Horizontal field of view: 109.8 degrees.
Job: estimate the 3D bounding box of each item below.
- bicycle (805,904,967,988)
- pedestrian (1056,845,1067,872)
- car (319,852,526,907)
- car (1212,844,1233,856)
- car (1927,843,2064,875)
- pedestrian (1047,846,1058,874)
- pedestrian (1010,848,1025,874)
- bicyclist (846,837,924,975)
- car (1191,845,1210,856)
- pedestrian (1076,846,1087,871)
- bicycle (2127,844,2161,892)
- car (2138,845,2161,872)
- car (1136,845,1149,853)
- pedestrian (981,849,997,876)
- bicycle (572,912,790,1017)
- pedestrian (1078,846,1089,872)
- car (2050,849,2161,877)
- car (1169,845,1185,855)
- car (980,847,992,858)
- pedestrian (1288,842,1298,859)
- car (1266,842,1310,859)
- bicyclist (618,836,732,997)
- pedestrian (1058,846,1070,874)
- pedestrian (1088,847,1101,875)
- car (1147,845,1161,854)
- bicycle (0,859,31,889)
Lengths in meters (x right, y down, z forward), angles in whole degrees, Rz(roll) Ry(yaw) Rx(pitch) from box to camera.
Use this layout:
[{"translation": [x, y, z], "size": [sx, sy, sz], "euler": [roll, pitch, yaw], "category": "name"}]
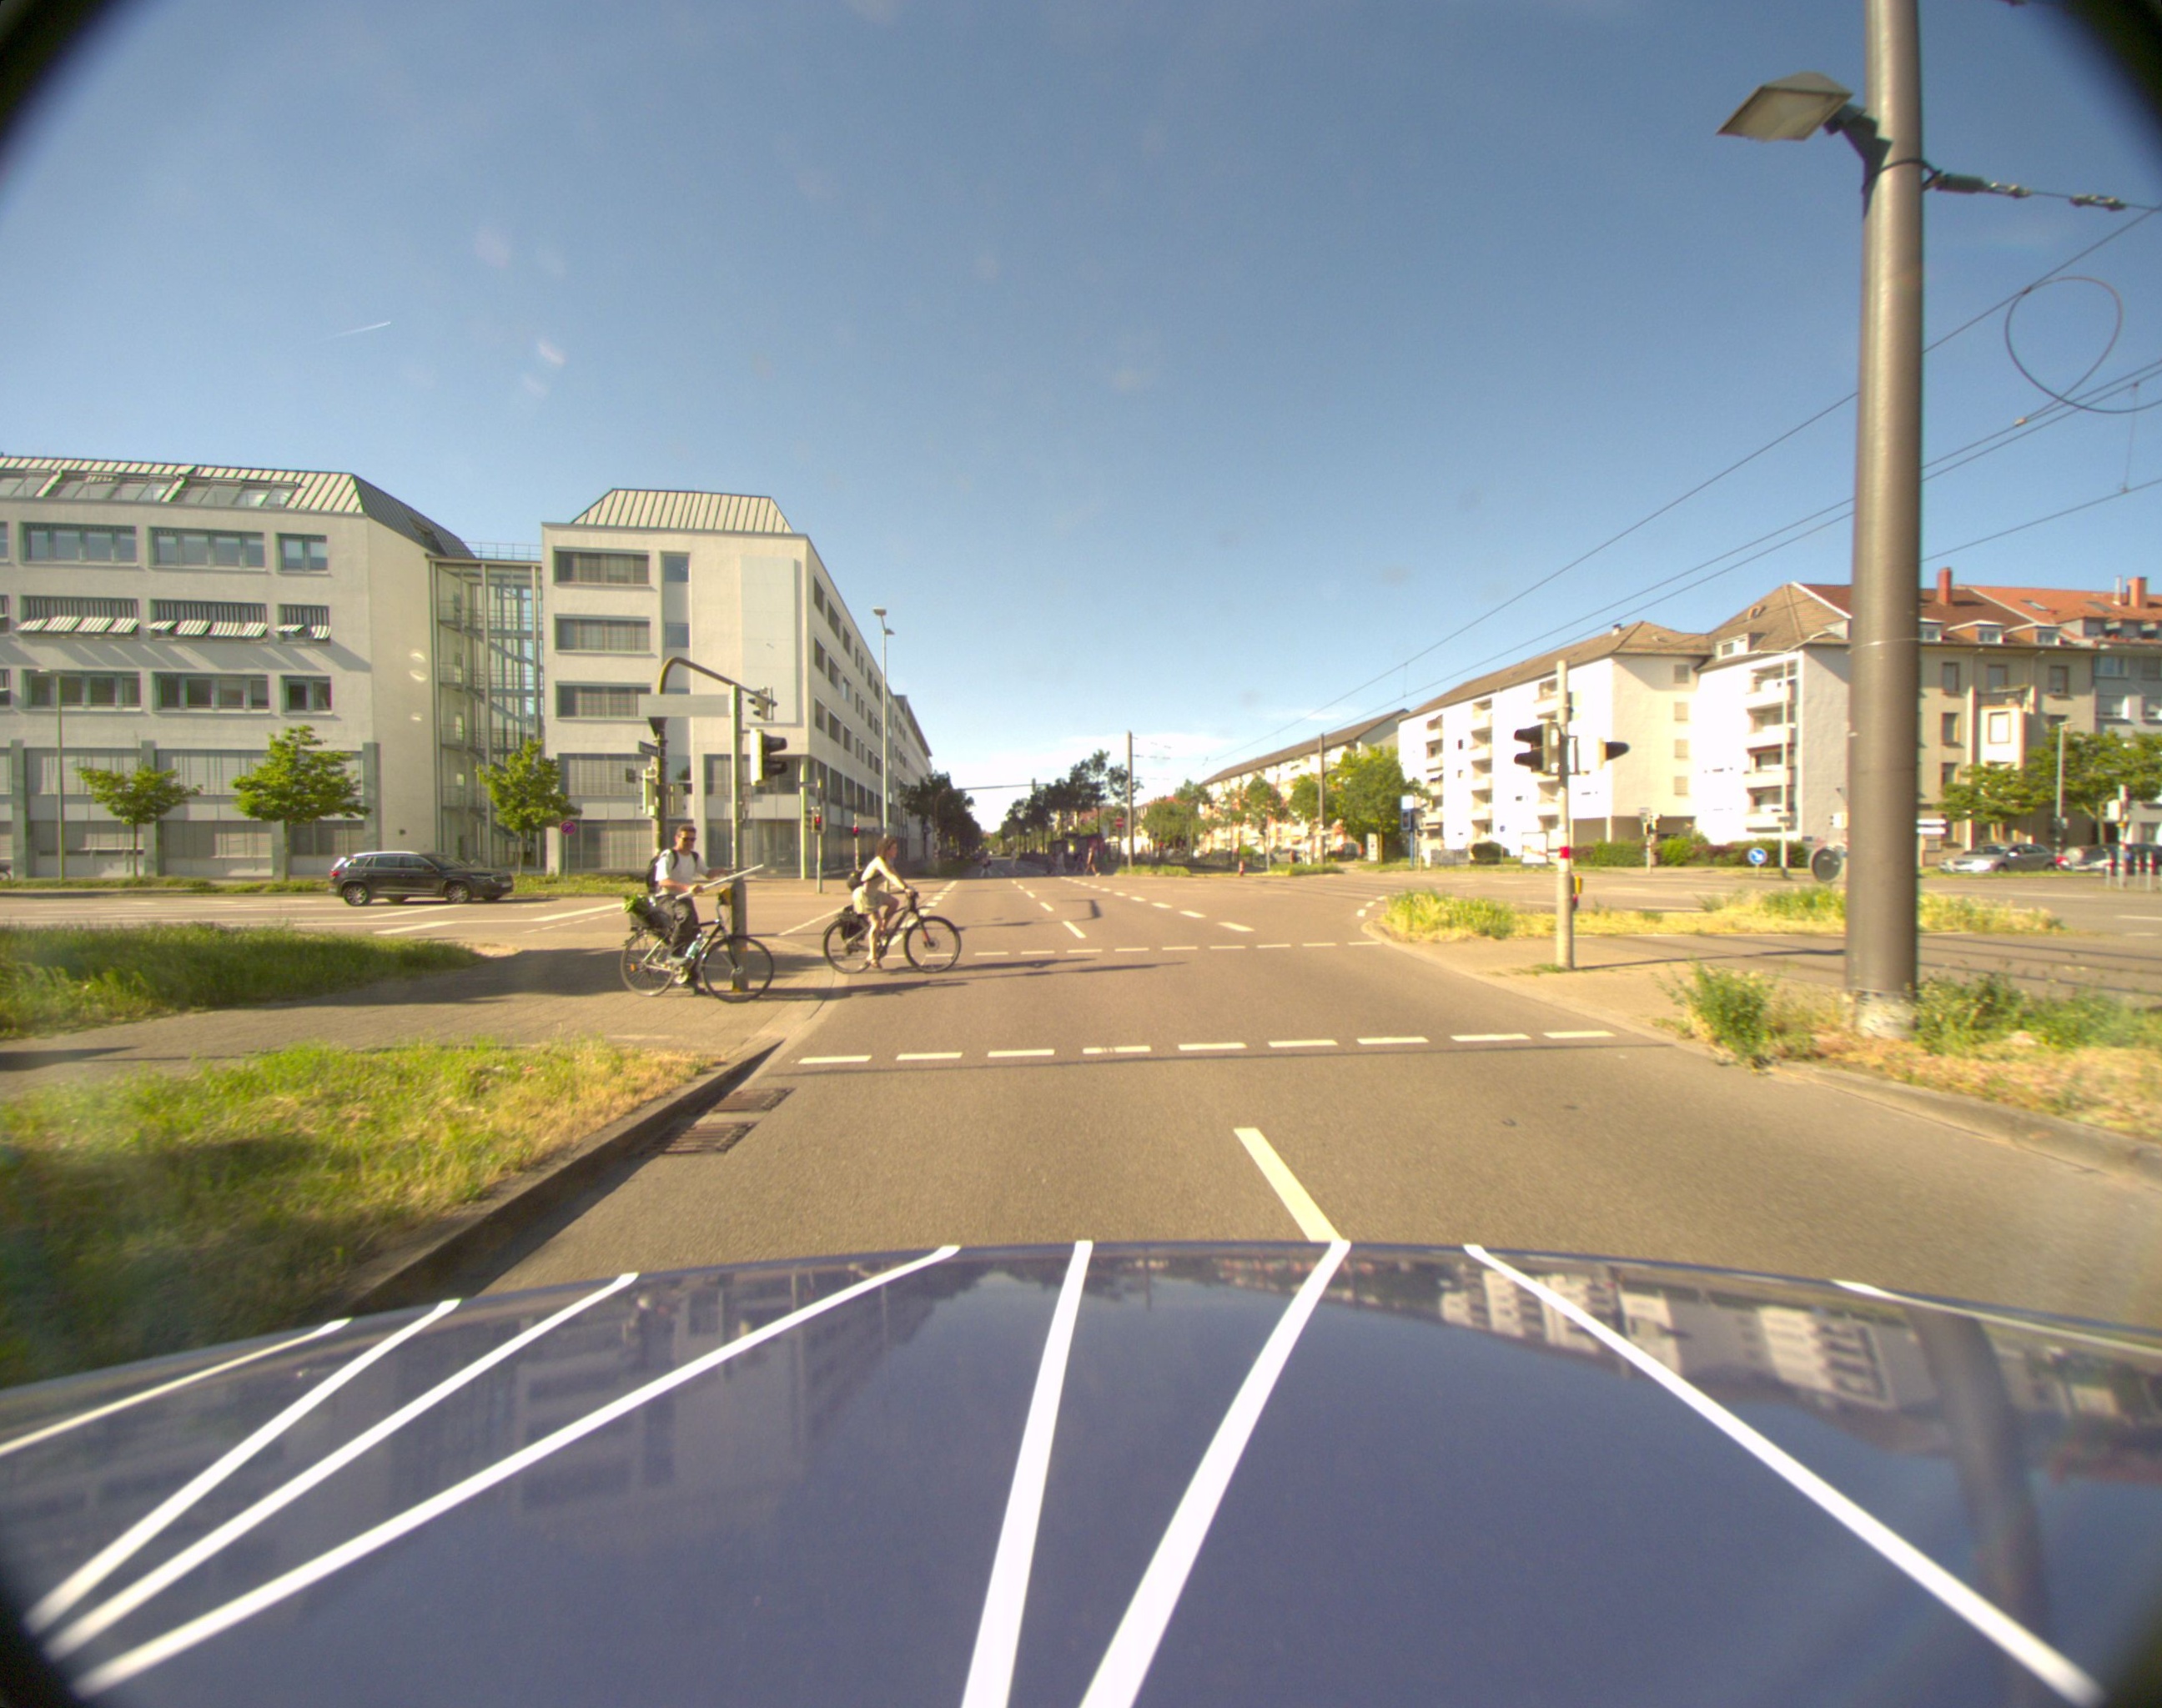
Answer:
[{"translation": [-2.463, 1.149, 9.720], "size": [1.826, 0.958, 0.817], "euler": [0, 1, 5], "category": "bicycle"}, {"translation": [-1.258, 0.294, 48.836], "size": [0.732, 1.687, 0.735], "euler": [0, 1, -1], "category": "pedestrian"}, {"translation": [-20.822, 0.769, 24.218], "size": [4.630, 1.613, 1.998], "euler": [0, 1, -6], "category": "car"}, {"translation": [19.747, -0.535, 106.158], "size": [1.694, 1.700, 4.238], "euler": [-1, 0, -7], "category": "car"}, {"translation": [43.568, 0.208, 36.259], "size": [4.189, 1.457, 2.332], "euler": [-1, 1, -8], "category": "car"}, {"translation": [-1.752, 0.383, 46.816], "size": [0.641, 1.687, 0.608], "euler": [-1, 1, -6], "category": "pedestrian"}, {"translation": [-4.096, 0.446, 49.002], "size": [0.882, 1.687, 0.735], "euler": [0, 1, -1], "category": "pedestrian"}, {"translation": [-2.485, 0.637, 9.714], "size": [0.714, 1.682, 0.817], "euler": [0, 1, 5], "category": "bicyclist"}, {"translation": [18.318, -0.517, 116.528], "size": [1.694, 1.700, 4.238], "euler": [-1, 0, -7], "category": "car"}, {"translation": [0.017, 0.301, 50.381], "size": [0.732, 1.687, 0.735], "euler": [0, 1, -1], "category": "pedestrian"}, {"translation": [30.792, 0.376, 21.157], "size": [2.579, 1.302, 0.662], "euler": [0, 1, -3], "category": "bicycle"}, {"translation": [55.129, 0.205, 37.526], "size": [4.089, 1.303, 1.702], "euler": [-1, 1, -9], "category": "car"}, {"translation": [12.814, -1.052, 158.749], "size": [1.694, 1.700, 4.401], "euler": [-1, 0, -7], "category": "car"}, {"translation": [-5.845, 0.514, 48.247], "size": [0.731, 1.687, 0.736], "euler": [0, 1, 15], "category": "pedestrian"}, {"translation": [-4.145, 1.134, 7.994], "size": [1.827, 0.958, 0.855], "euler": [0, 1, 0], "category": "bicycle"}, {"translation": [0.161, 0.313, 49.460], "size": [0.732, 1.687, 0.735], "euler": [0, 1, -1], "category": "pedestrian"}, {"translation": [50.067, 0.404, 37.014], "size": [4.089, 1.303, 1.702], "euler": [-1, 1, -9], "category": "car"}, {"translation": [16.637, -0.744, 131.814], "size": [1.833, 1.700, 4.238], "euler": [-1, 0, -7], "category": "car"}, {"translation": [-14.445, -0.228, 115.166], "size": [1.694, 1.700, 4.238], "euler": [-1, 0, -7], "category": "car"}, {"translation": [21.487, -0.368, 77.127], "size": [0.786, 1.701, 0.703], "euler": [-1, 1, -8], "category": "pedestrian"}, {"translation": [21.314, -0.362, 78.275], "size": [4.231, 1.700, 1.696], "euler": [0, 1, 24], "category": "car"}, {"translation": [-4.231, 0.620, 7.983], "size": [0.714, 1.591, 0.850], "euler": [0, 1, 0], "category": "bicyclist"}, {"translation": [-1.088, 0.373, 47.908], "size": [0.732, 1.687, 0.735], "euler": [0, 1, -1], "category": "pedestrian"}, {"translation": [0.805, 0.417, 45.429], "size": [0.723, 1.687, 0.608], "euler": [0, 1, -1], "category": "pedestrian"}, {"translation": [14.145, -0.895, 146.768], "size": [1.694, 1.700, 4.401], "euler": [-1, 0, -7], "category": "car"}, {"translation": [-49.868, 0.910, 34.118], "size": [3.535, 1.340, 0.989], "euler": [0, 1, -7], "category": "bicycle"}]
